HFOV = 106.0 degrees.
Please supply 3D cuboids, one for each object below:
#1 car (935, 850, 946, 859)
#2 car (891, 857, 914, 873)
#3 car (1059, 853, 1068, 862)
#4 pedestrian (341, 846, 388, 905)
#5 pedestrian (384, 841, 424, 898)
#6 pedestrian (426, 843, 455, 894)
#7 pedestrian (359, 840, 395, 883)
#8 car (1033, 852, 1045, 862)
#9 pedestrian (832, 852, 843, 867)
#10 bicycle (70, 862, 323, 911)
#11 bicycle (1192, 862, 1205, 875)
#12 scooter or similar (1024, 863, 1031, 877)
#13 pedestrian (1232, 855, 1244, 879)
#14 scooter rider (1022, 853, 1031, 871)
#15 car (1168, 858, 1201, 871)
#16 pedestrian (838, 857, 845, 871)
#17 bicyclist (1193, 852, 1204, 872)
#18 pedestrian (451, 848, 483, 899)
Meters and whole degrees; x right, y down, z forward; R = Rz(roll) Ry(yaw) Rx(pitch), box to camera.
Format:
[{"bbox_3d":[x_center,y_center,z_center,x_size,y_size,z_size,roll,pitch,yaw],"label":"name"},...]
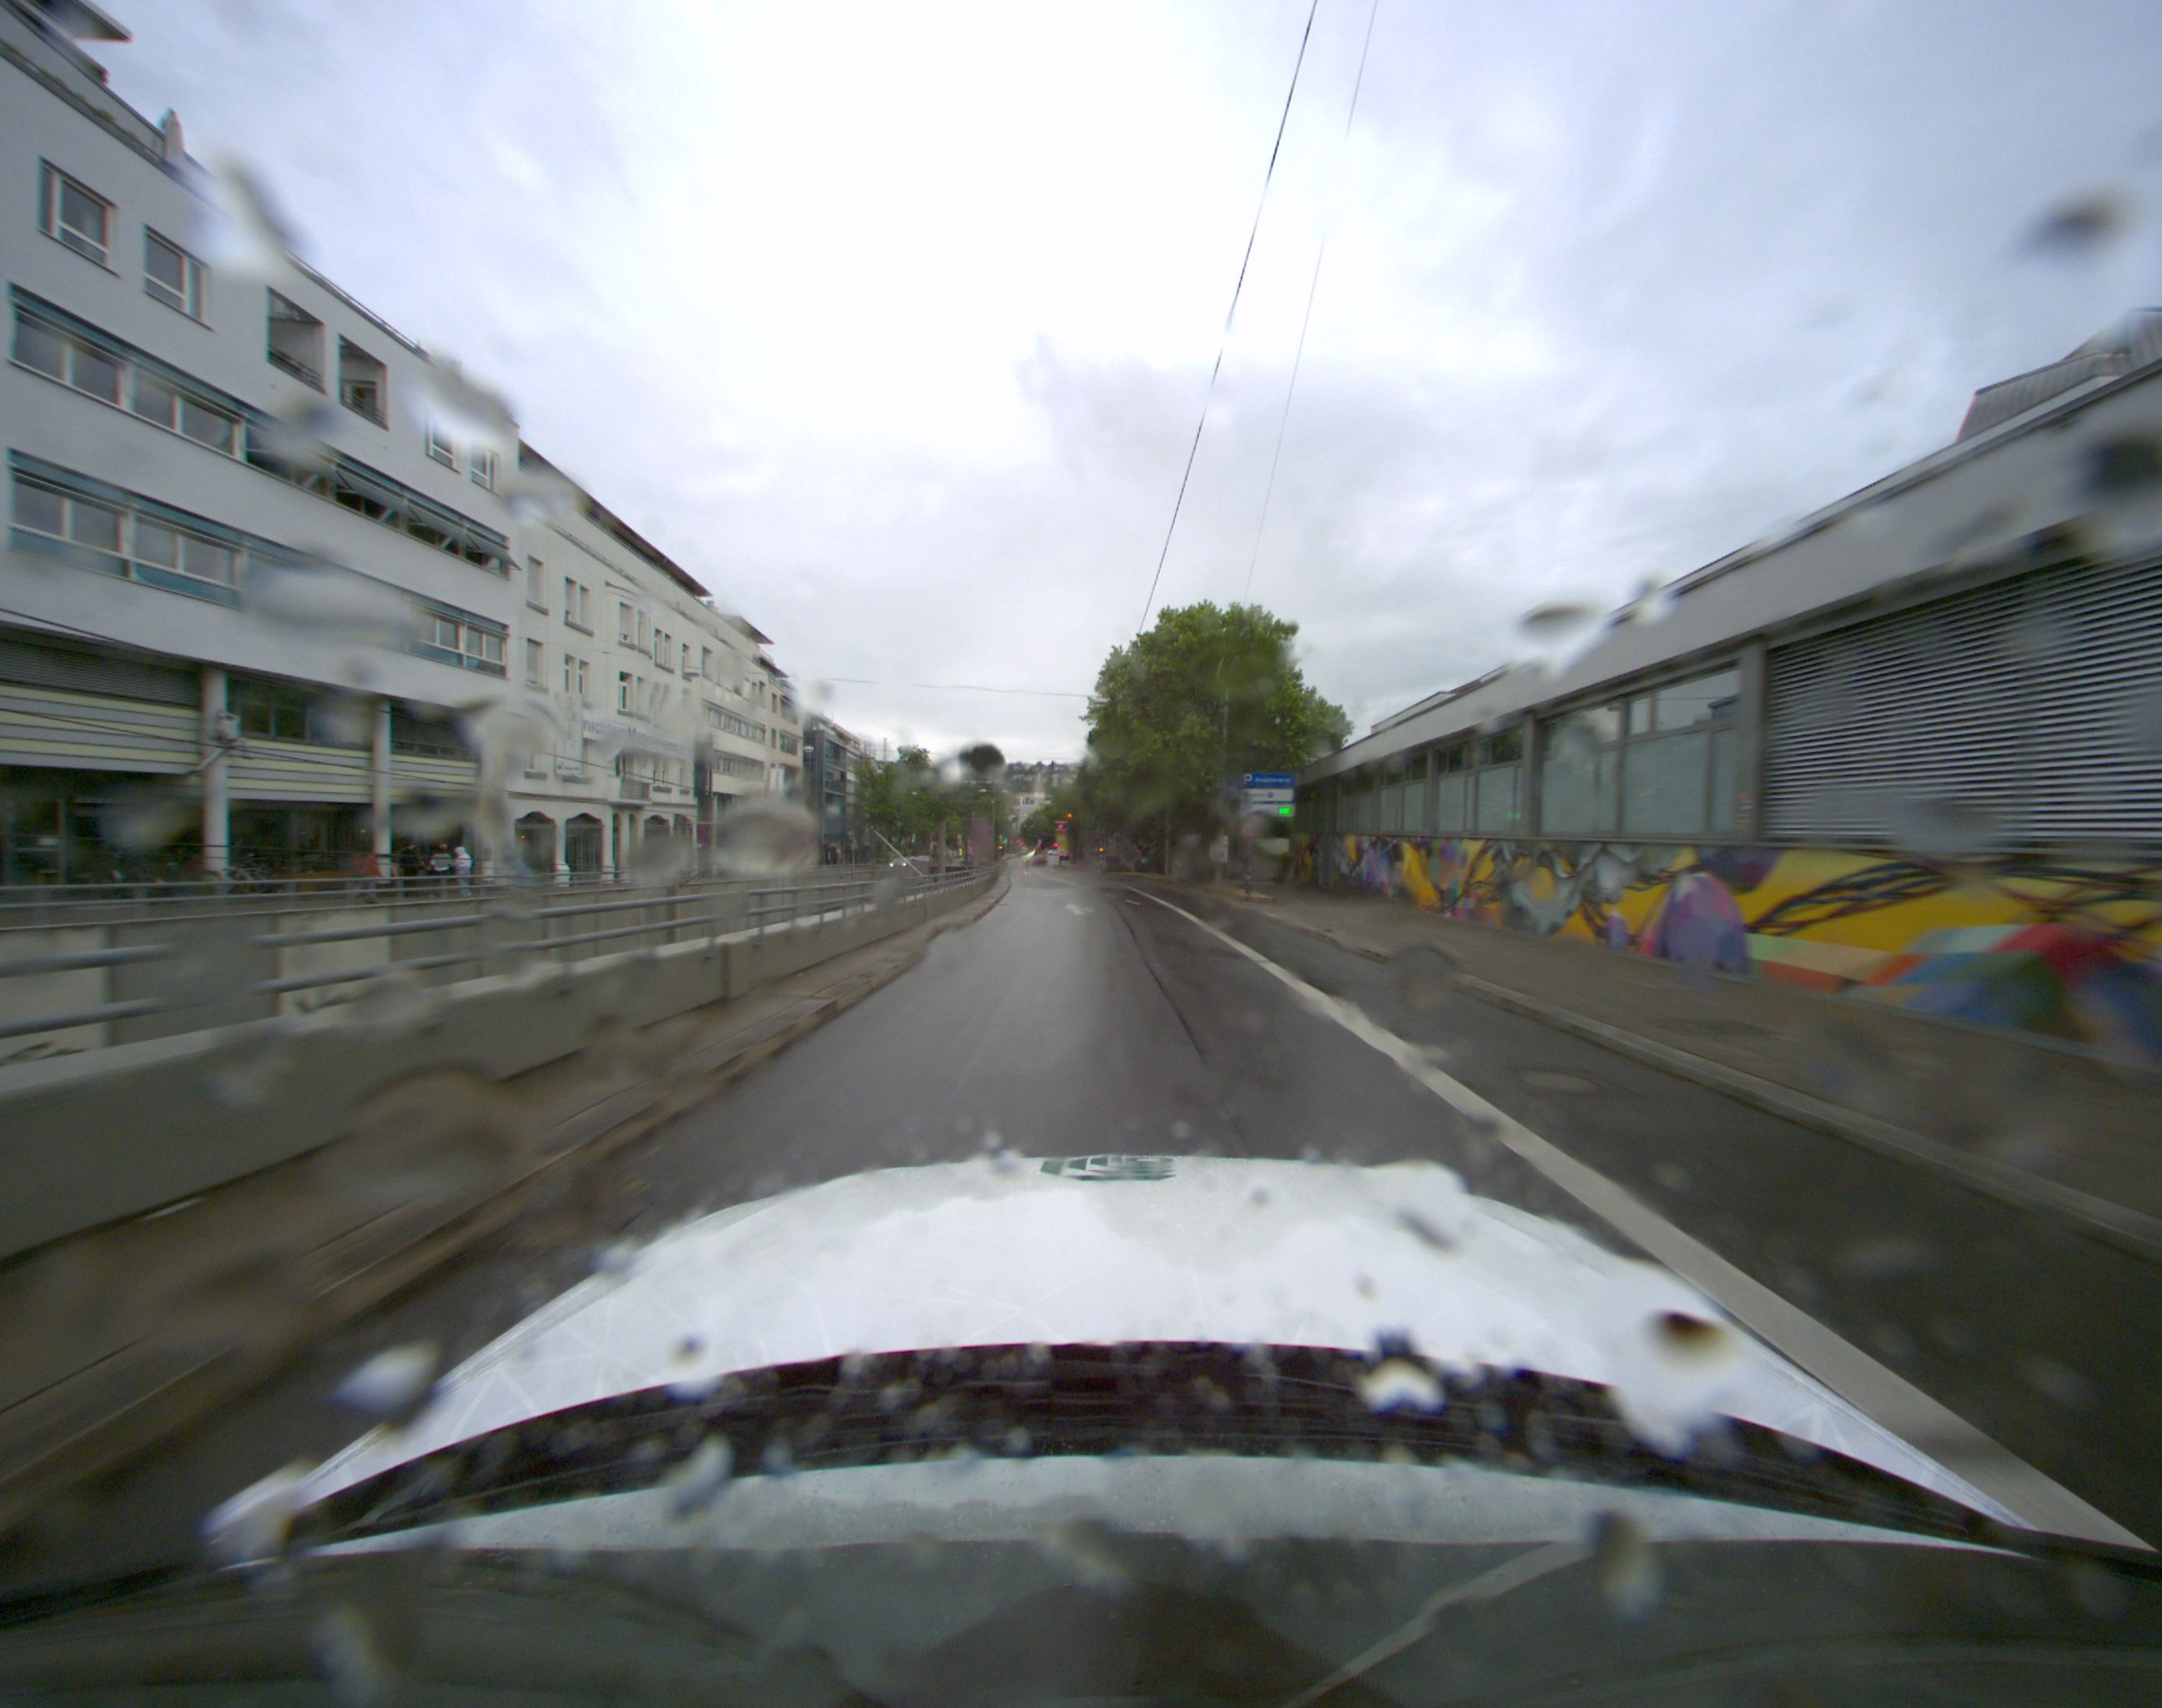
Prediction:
[{"bbox_3d":[-28.132,0.066,163.352,1.778,1.555,3.886,2,2,-6],"label":"car"},{"bbox_3d":[-19.794,1.171,90.546,1.833,1.713,4.571,1,0,-4],"label":"car"},{"bbox_3d":[-3.548,0.745,166.068,1.896,1.684,3.908,2,0,-1],"label":"car"},{"bbox_3d":[-20.128,0.582,22.903,0.674,1.616,0.936,1,0,-20],"label":"pedestrian"},{"bbox_3d":[-21.559,0.485,25.951,0.674,1.785,0.936,1,0,-20],"label":"pedestrian"},{"bbox_3d":[-21.673,0.481,27.551,0.602,1.722,0.677,1,0,45],"label":"pedestrian"},{"bbox_3d":[-23.815,0.247,27.554,0.605,1.419,0.673,1,0,-1],"label":"pedestrian"},{"bbox_3d":[-7.080,0.487,136.826,1.743,1.519,4.098,1,0,-5],"label":"car"},{"bbox_3d":[-31.090,0.719,104.057,0.858,1.868,0.963,2,0,13],"label":"pedestrian"},{"bbox_3d":[-22.754,0.786,21.282,1.688,1.043,4.520,1,0,-1],"label":"bicycle"},{"bbox_3d":[9.830,1.224,68.355,0.803,1.112,2.199,0,-1,2],"label":"bicycle"},{"bbox_3d":[-5.743,1.712,87.239,0.545,1.418,1.950,1,0,-7],"label":"scooter or similar"},{"bbox_3d":[12.717,1.044,66.006,0.803,1.864,1.057,0,-1,4],"label":"pedestrian"},{"bbox_3d":[-5.853,0.841,87.041,0.808,1.948,0.820,2,0,-10],"label":"scooter rider"},{"bbox_3d":[14.422,1.431,113.217,4.370,1.684,1.735,2,0,-31],"label":"car"},{"bbox_3d":[-29.411,1.208,100.101,0.663,1.671,0.487,1,-1,-7],"label":"pedestrian"},{"bbox_3d":[9.835,0.678,68.275,0.803,1.628,1.047,0,-1,1],"label":"bicyclist"},{"bbox_3d":[-20.411,0.630,27.088,0.785,1.643,0.678,1,0,41],"label":"pedestrian"}]
